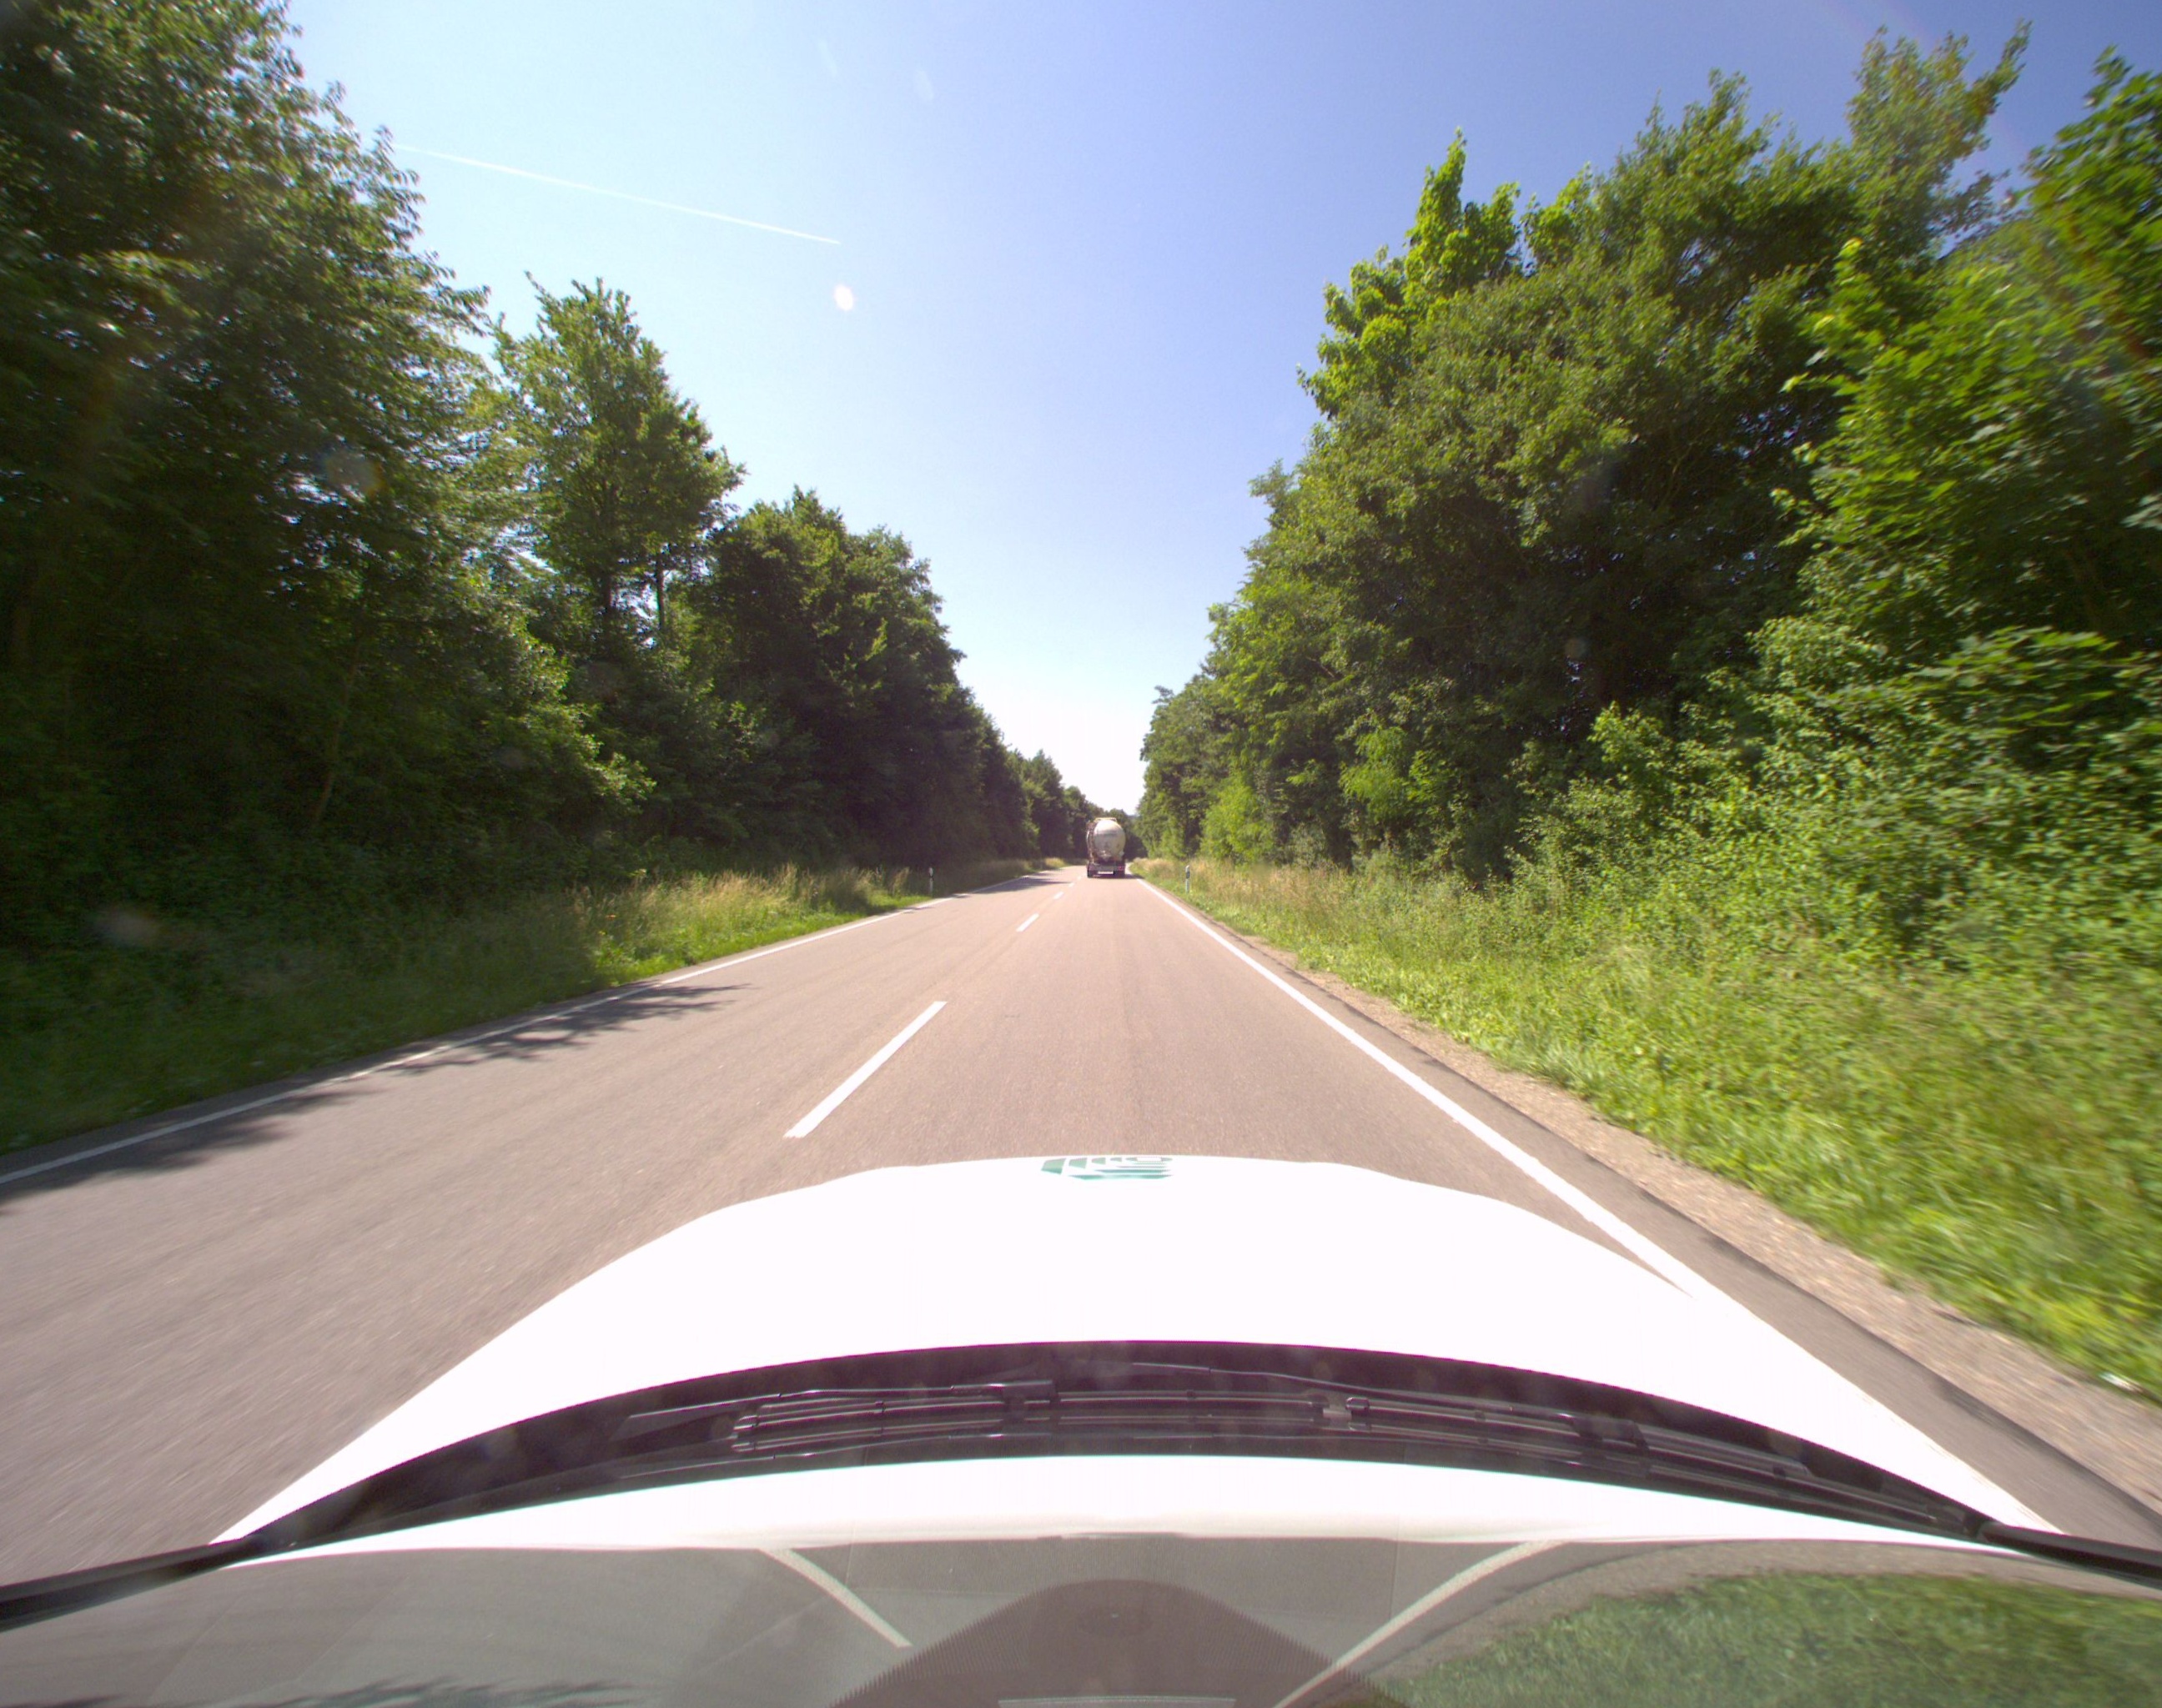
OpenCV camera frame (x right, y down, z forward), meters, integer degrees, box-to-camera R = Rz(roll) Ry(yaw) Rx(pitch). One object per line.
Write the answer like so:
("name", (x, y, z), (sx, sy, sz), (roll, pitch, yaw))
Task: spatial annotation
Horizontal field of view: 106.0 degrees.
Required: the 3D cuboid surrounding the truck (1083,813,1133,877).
("truck", (1.923, -0.536, 59.438), (3.038, 3.998, 15.640), (1, 0, 2))
